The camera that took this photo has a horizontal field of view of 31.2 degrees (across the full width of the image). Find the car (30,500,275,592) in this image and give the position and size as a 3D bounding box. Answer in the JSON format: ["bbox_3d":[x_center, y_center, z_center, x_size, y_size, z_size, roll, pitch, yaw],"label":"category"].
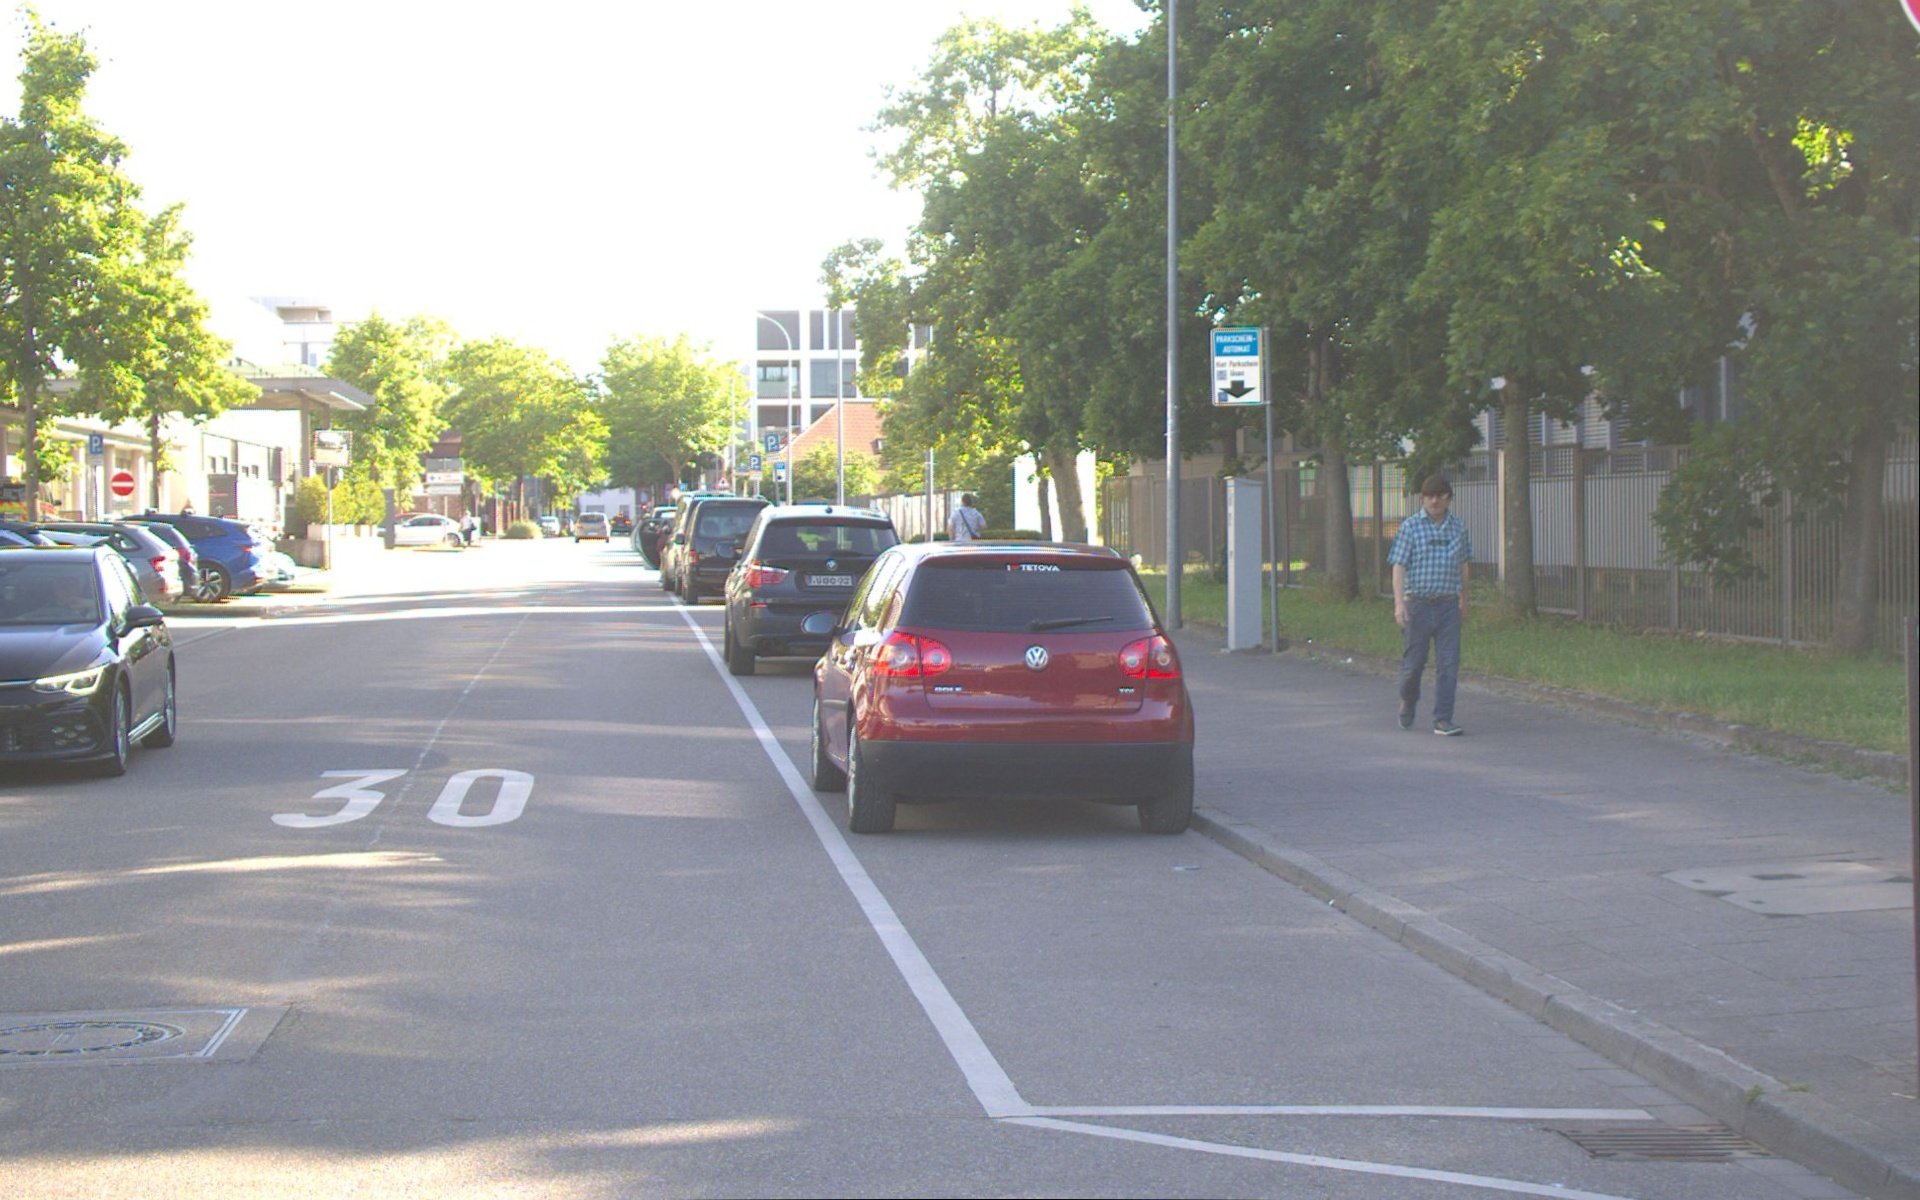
[{"bbox_3d":[-14.668,-0.992,62.646,4.213,1.597,1.873,1,1,-9],"label":"car"}]

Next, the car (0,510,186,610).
[{"bbox_3d":[-14.073,-0.633,52.650,4.213,1.457,1.873,1,1,-9],"label":"car"}]

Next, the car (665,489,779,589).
[{"bbox_3d":[-4.594,-1.194,65.901,1.993,1.816,4.199,-2,2,-6],"label":"car"}]

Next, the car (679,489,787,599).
[{"bbox_3d":[-3.970,-0.990,59.692,1.732,1.824,3.906,-1,2,-5],"label":"car"}]

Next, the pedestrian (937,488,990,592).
[{"bbox_3d":[0.060,-0.981,55.883,0.698,1.655,0.752,-3,2,-6],"label":"pedestrian"}]

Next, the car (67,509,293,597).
[{"bbox_3d":[-14.723,-0.911,65.096,3.986,1.546,2.001,-1,2,-8],"label":"car"}]

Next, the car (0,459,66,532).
[{"bbox_3d":[-27.454,-3.030,100.371,1.993,2.007,4.001,0,0,-6],"label":"car"}]

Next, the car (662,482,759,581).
[{"bbox_3d":[-5.260,-1.460,72.110,1.874,1.971,4.001,-2,2,-6],"label":"car"}]

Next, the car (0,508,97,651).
[{"bbox_3d":[-12.312,-0.278,39.959,4.245,1.606,2.049,1,1,-9],"label":"car"}]

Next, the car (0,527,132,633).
[{"bbox_3d":[-13.140,-0.296,45.748,3.986,1.354,1.744,1,1,-9],"label":"car"}]

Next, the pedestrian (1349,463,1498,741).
[{"bbox_3d":[3.023,-0.001,22.495,0.717,1.752,0.885,-3,2,-5],"label":"pedestrian"}]

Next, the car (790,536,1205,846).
[{"bbox_3d":[0.069,0.403,18.901,1.719,1.450,4.653,1,1,-6],"label":"car"}]

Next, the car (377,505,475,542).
[{"bbox_3d":[-22.649,-3.259,145.869,3.986,1.514,2.000,0,0,-5],"label":"car"}]

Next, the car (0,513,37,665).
[{"bbox_3d":[-12.093,-0.161,37.013,3.986,1.601,1.873,1,1,-9],"label":"car"}]

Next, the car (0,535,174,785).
[{"bbox_3d":[-6.209,0.337,22.540,1.703,1.446,4.087,-2,2,-9],"label":"car"}]

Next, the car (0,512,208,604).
[{"bbox_3d":[-14.899,-0.718,58.021,4.213,1.481,1.873,1,1,-9],"label":"car"}]

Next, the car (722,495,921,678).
[{"bbox_3d":[-1.473,-0.199,34.861,1.812,1.660,4.593,1,2,-5],"label":"car"}]

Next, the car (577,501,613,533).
[{"bbox_3d":[-17.872,-4.076,168.366,1.743,1.538,4.001,0,1,-6],"label":"car"}]

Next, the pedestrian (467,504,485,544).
[{"bbox_3d":[-19.679,-3.100,139.765,0.618,1.618,0.716,-2,2,-6],"label":"pedestrian"}]
